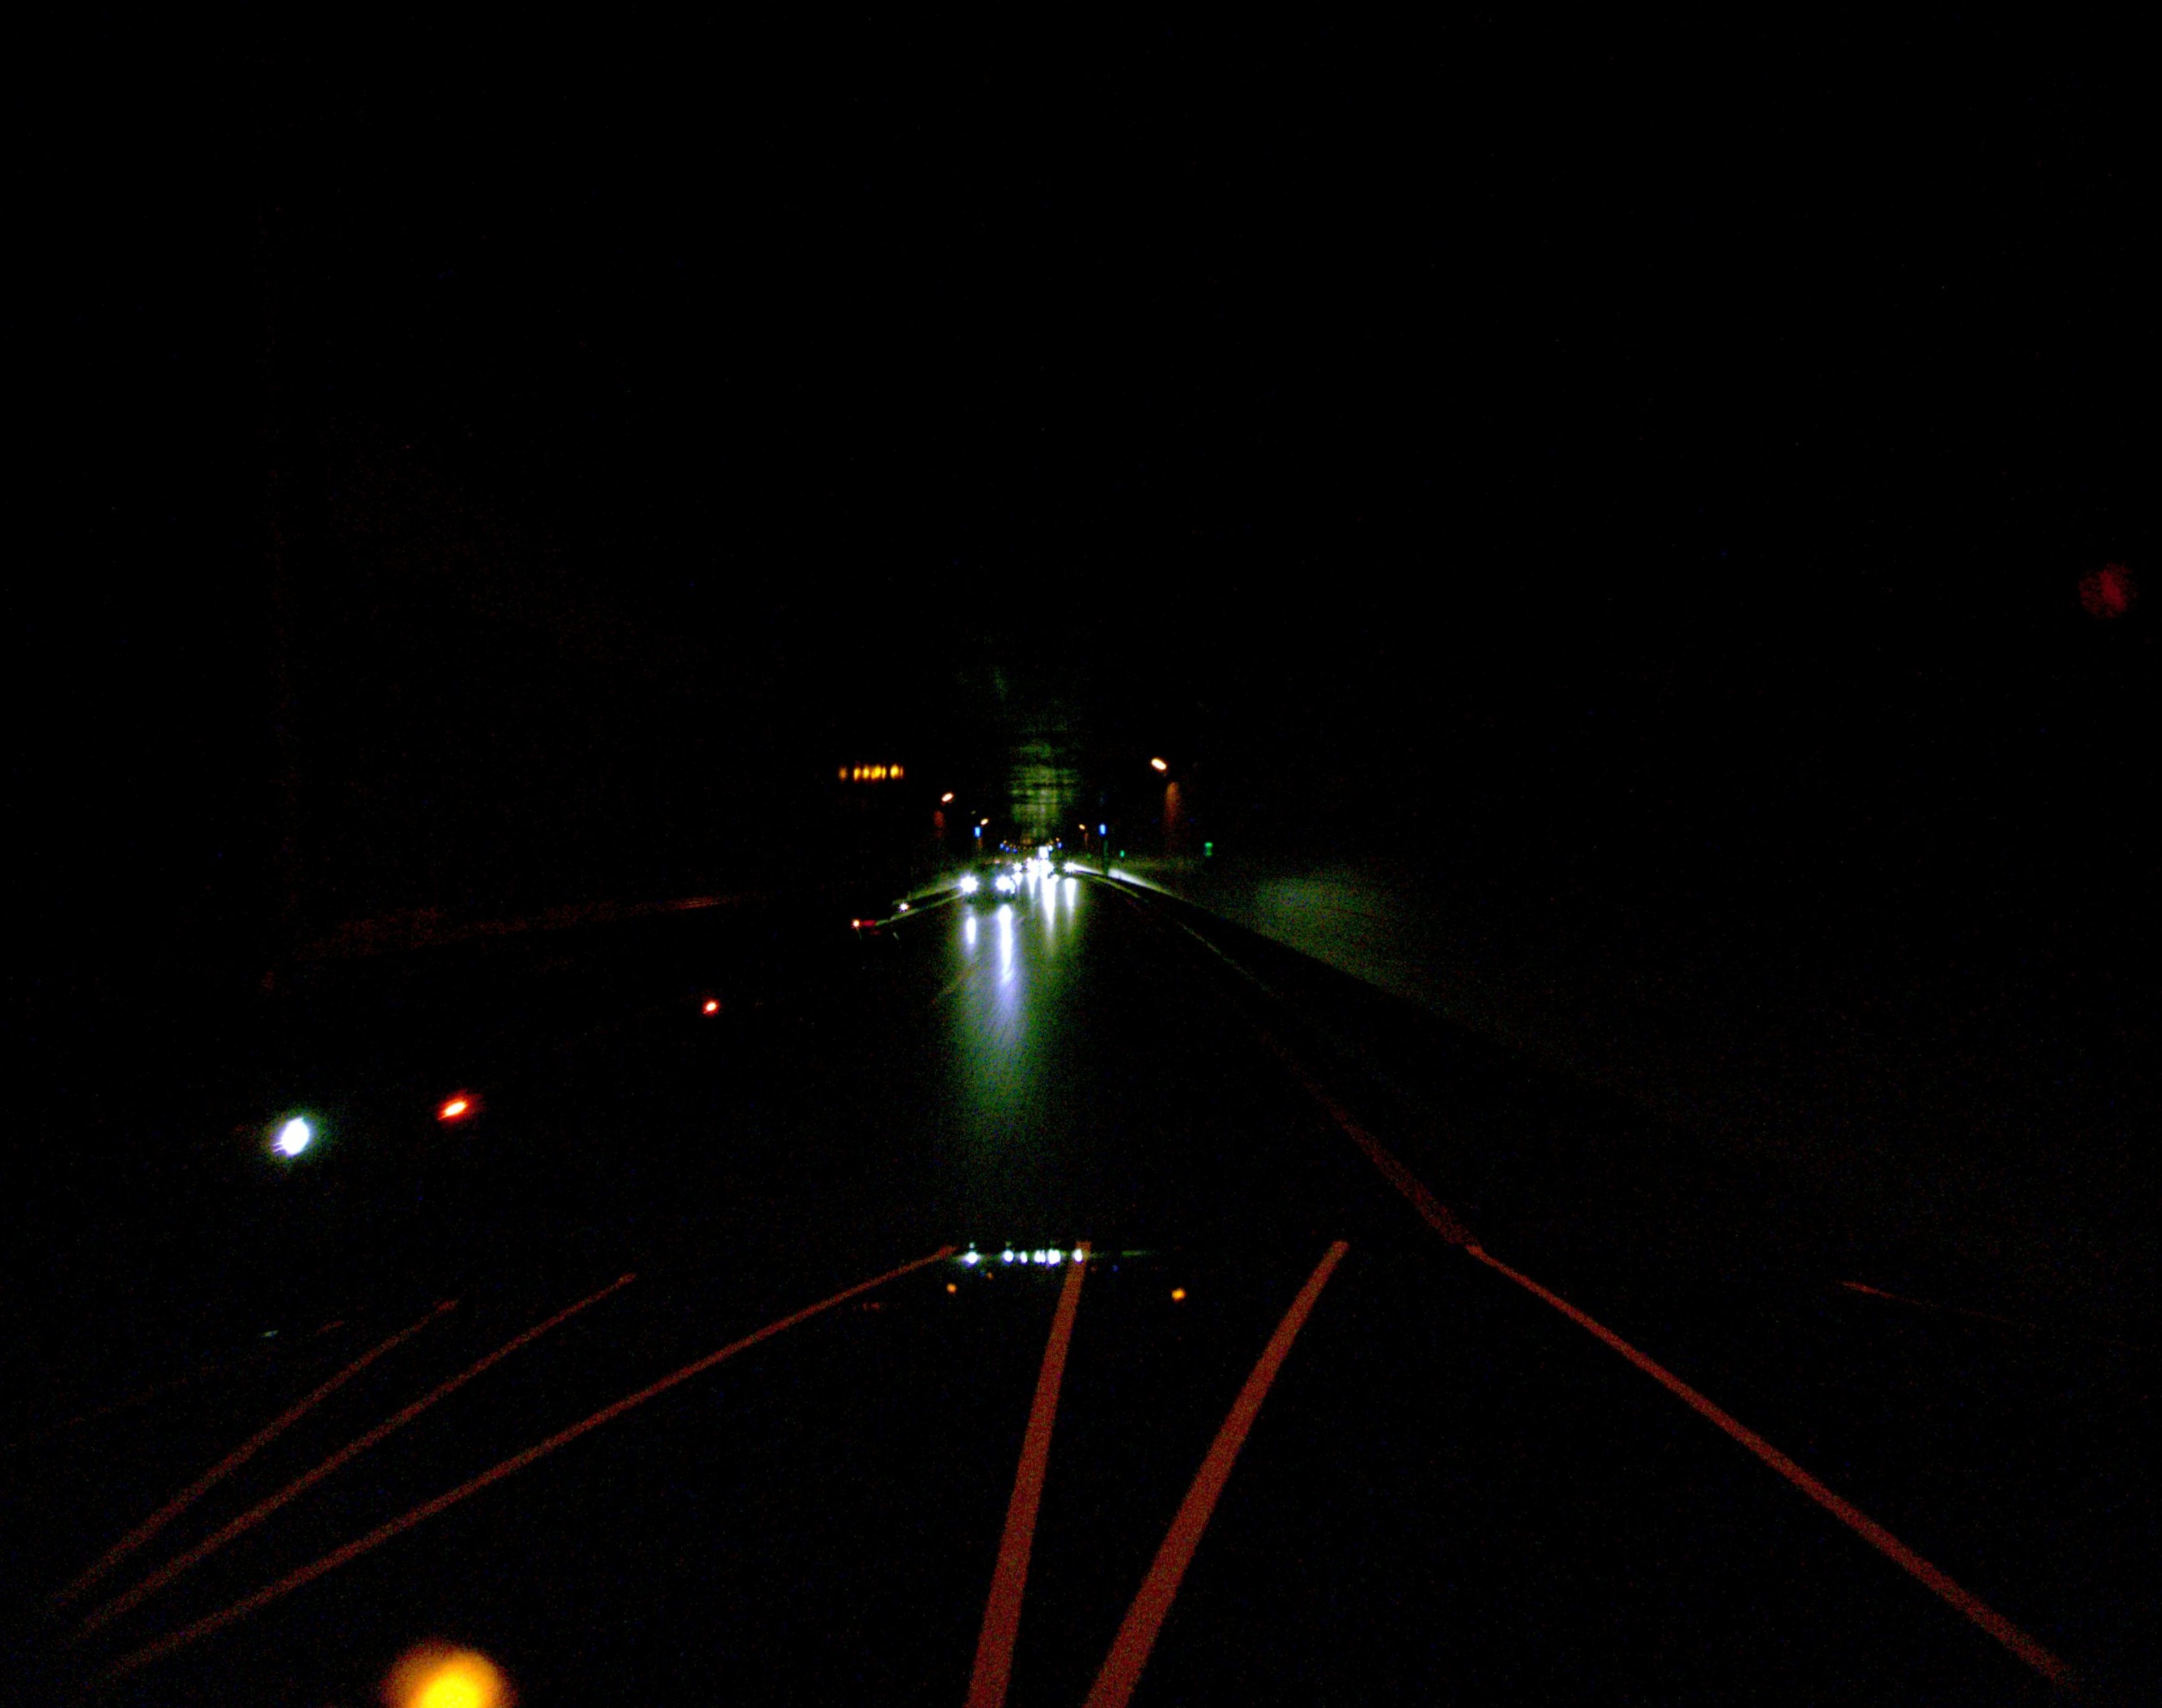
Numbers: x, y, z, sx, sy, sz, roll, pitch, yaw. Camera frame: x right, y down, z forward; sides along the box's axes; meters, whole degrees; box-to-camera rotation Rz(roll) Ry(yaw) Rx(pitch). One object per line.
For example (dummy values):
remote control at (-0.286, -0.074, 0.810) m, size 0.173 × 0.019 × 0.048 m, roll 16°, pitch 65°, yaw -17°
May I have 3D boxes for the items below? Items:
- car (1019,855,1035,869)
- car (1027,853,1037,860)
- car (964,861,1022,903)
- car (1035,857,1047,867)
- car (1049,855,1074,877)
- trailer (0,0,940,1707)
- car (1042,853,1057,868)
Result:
car at (-6.216, 0.951, 88.197) m, size 1.736 × 1.565 × 3.998 m, roll -2°, pitch 0°, yaw -4°
car at (-12.300, 0.661, 190.711) m, size 1.998 × 1.674 × 3.999 m, roll -1°, pitch 1°, yaw 0°
car at (-3.345, 1.033, 29.491) m, size 1.735 × 1.395 × 3.798 m, roll -2°, pitch 1°, yaw 0°
car at (-7.004, 1.370, 133.306) m, size 1.999 × 1.576 × 4.649 m, roll -1°, pitch 1°, yaw -3°
car at (-1.482, 0.866, 58.116) m, size 1.820 × 1.589 × 3.999 m, roll 1°, pitch 0°, yaw -2°
trailer at (-3.302, -0.218, 4.972) m, size 2.882 × 3.836 × 8.948 m, roll -1°, pitch 0°, yaw 1°
car at (-3.971, 0.766, 95.983) m, size 1.715 × 1.729 × 3.997 m, roll -1°, pitch 2°, yaw -4°
